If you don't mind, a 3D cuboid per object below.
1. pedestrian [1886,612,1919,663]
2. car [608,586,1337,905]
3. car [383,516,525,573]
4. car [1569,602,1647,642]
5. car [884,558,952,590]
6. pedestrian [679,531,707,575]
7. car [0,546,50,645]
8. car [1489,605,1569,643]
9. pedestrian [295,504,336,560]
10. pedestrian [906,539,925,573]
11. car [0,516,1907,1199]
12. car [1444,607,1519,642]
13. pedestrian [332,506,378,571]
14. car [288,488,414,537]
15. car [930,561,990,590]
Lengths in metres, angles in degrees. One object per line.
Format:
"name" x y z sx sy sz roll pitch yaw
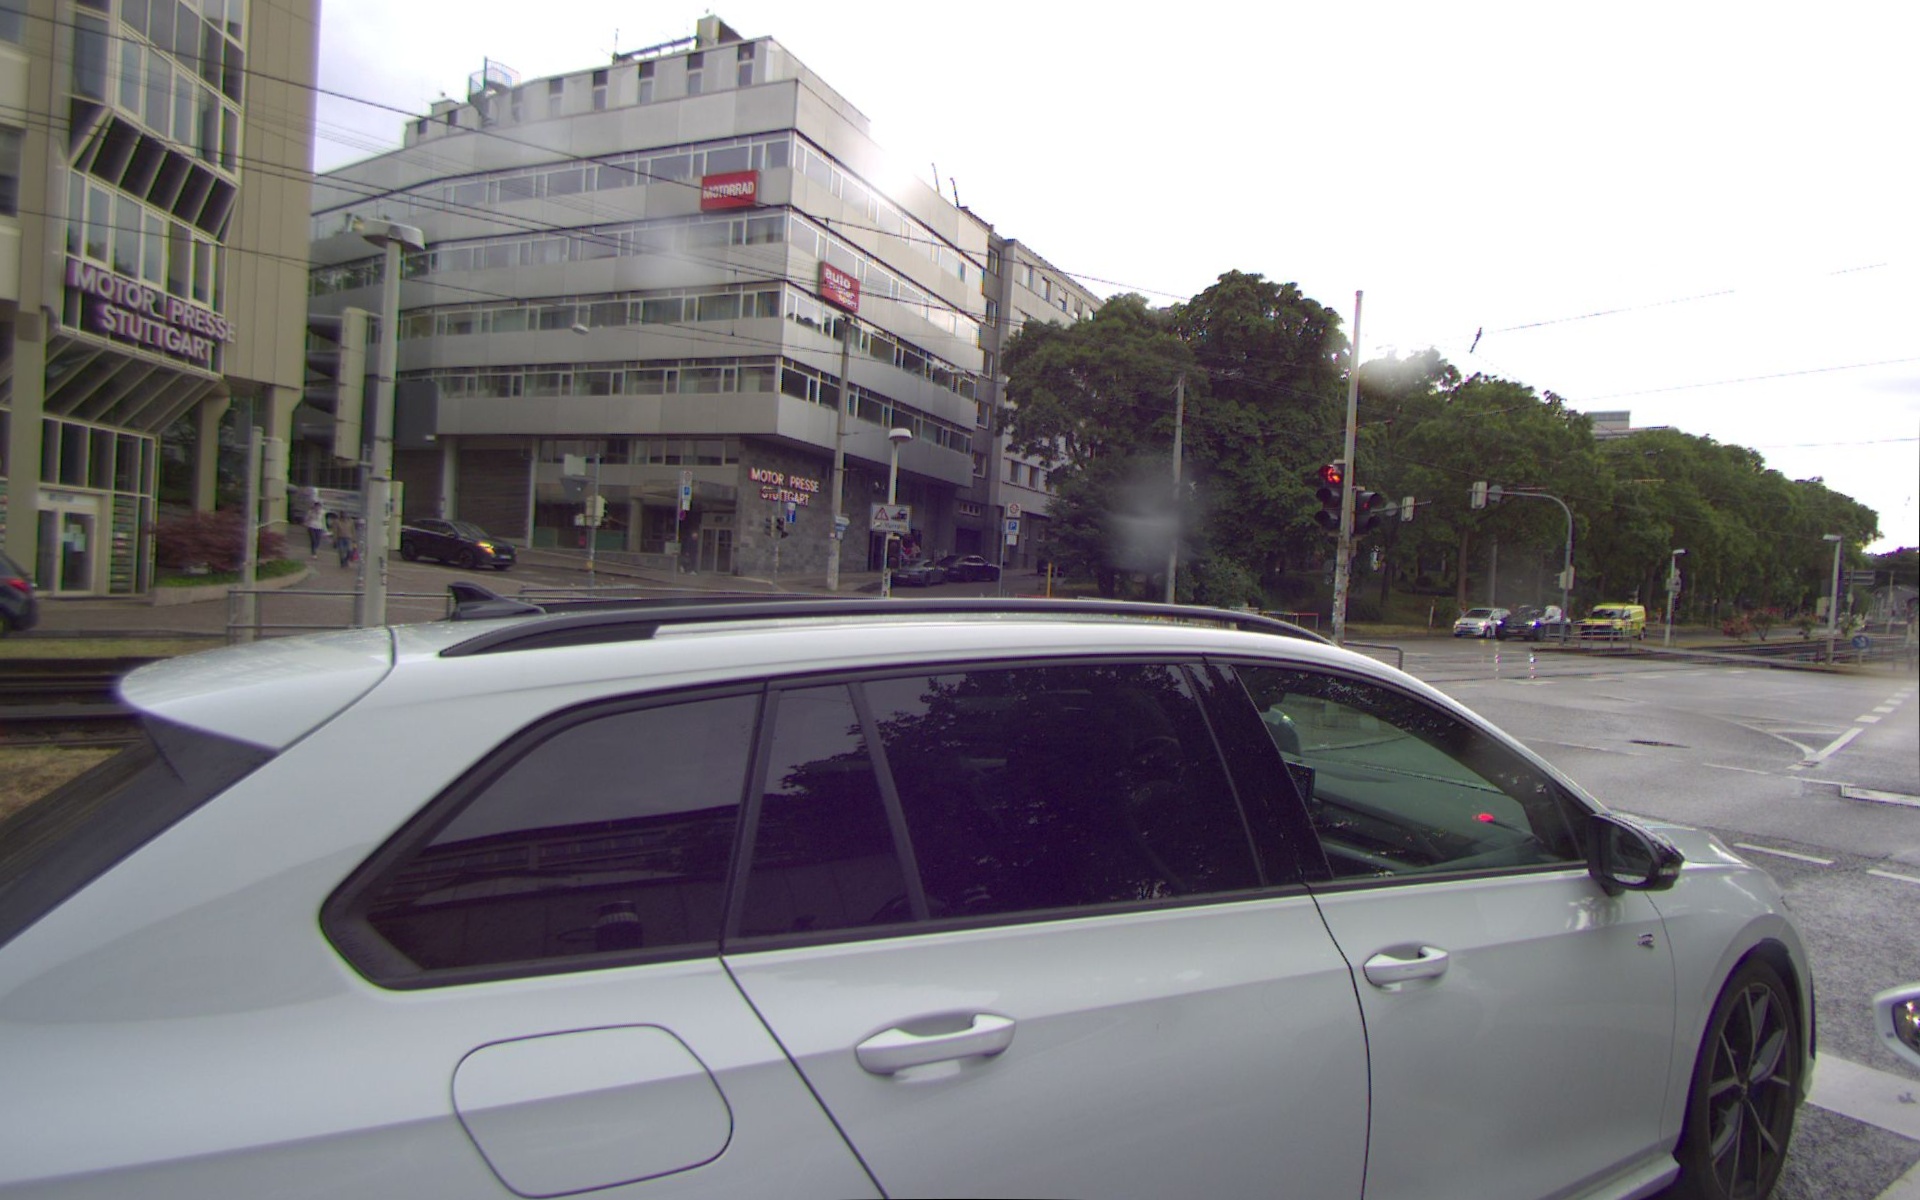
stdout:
"pedestrian" 35.247 1.401 37.520 0.860 1.826 0.863 5 3 44
"car" 0.205 0.721 6.499 4.423 1.461 1.787 2 0 -30
"car" -18.808 -2.071 37.335 4.794 1.601 1.999 7 3 23
"car" 33.646 1.139 52.130 4.525 1.875 1.905 2 1 -38
"car" -2.050 -1.291 50.624 1.842 1.450 4.091 3 2 22
"pedestrian" -11.871 -2.082 44.616 0.833 1.886 0.719 5 2 25
"car" -15.118 -0.108 13.769 1.611 1.375 3.847 5 2 45
"car" 26.327 1.119 46.439 3.648 1.566 1.905 2 1 -37
"pedestrian" -19.821 -2.090 30.891 0.746 1.661 0.719 5 2 25
"pedestrian" -2.505 -2.481 56.958 0.707 1.886 0.758 5 4 31
"car" 0.308 0.704 2.486 4.423 1.461 1.787 2 0 -30
"car" 26.072 1.215 50.198 3.648 1.566 1.905 2 1 -37
"pedestrian" -17.733 -1.793 29.435 0.746 1.811 0.830 5 2 25
"car" -32.022 -4.539 53.009 1.964 2.040 5.403 2 0 30
"car" 0.040 -1.351 55.598 1.842 1.450 3.998 3 2 22
